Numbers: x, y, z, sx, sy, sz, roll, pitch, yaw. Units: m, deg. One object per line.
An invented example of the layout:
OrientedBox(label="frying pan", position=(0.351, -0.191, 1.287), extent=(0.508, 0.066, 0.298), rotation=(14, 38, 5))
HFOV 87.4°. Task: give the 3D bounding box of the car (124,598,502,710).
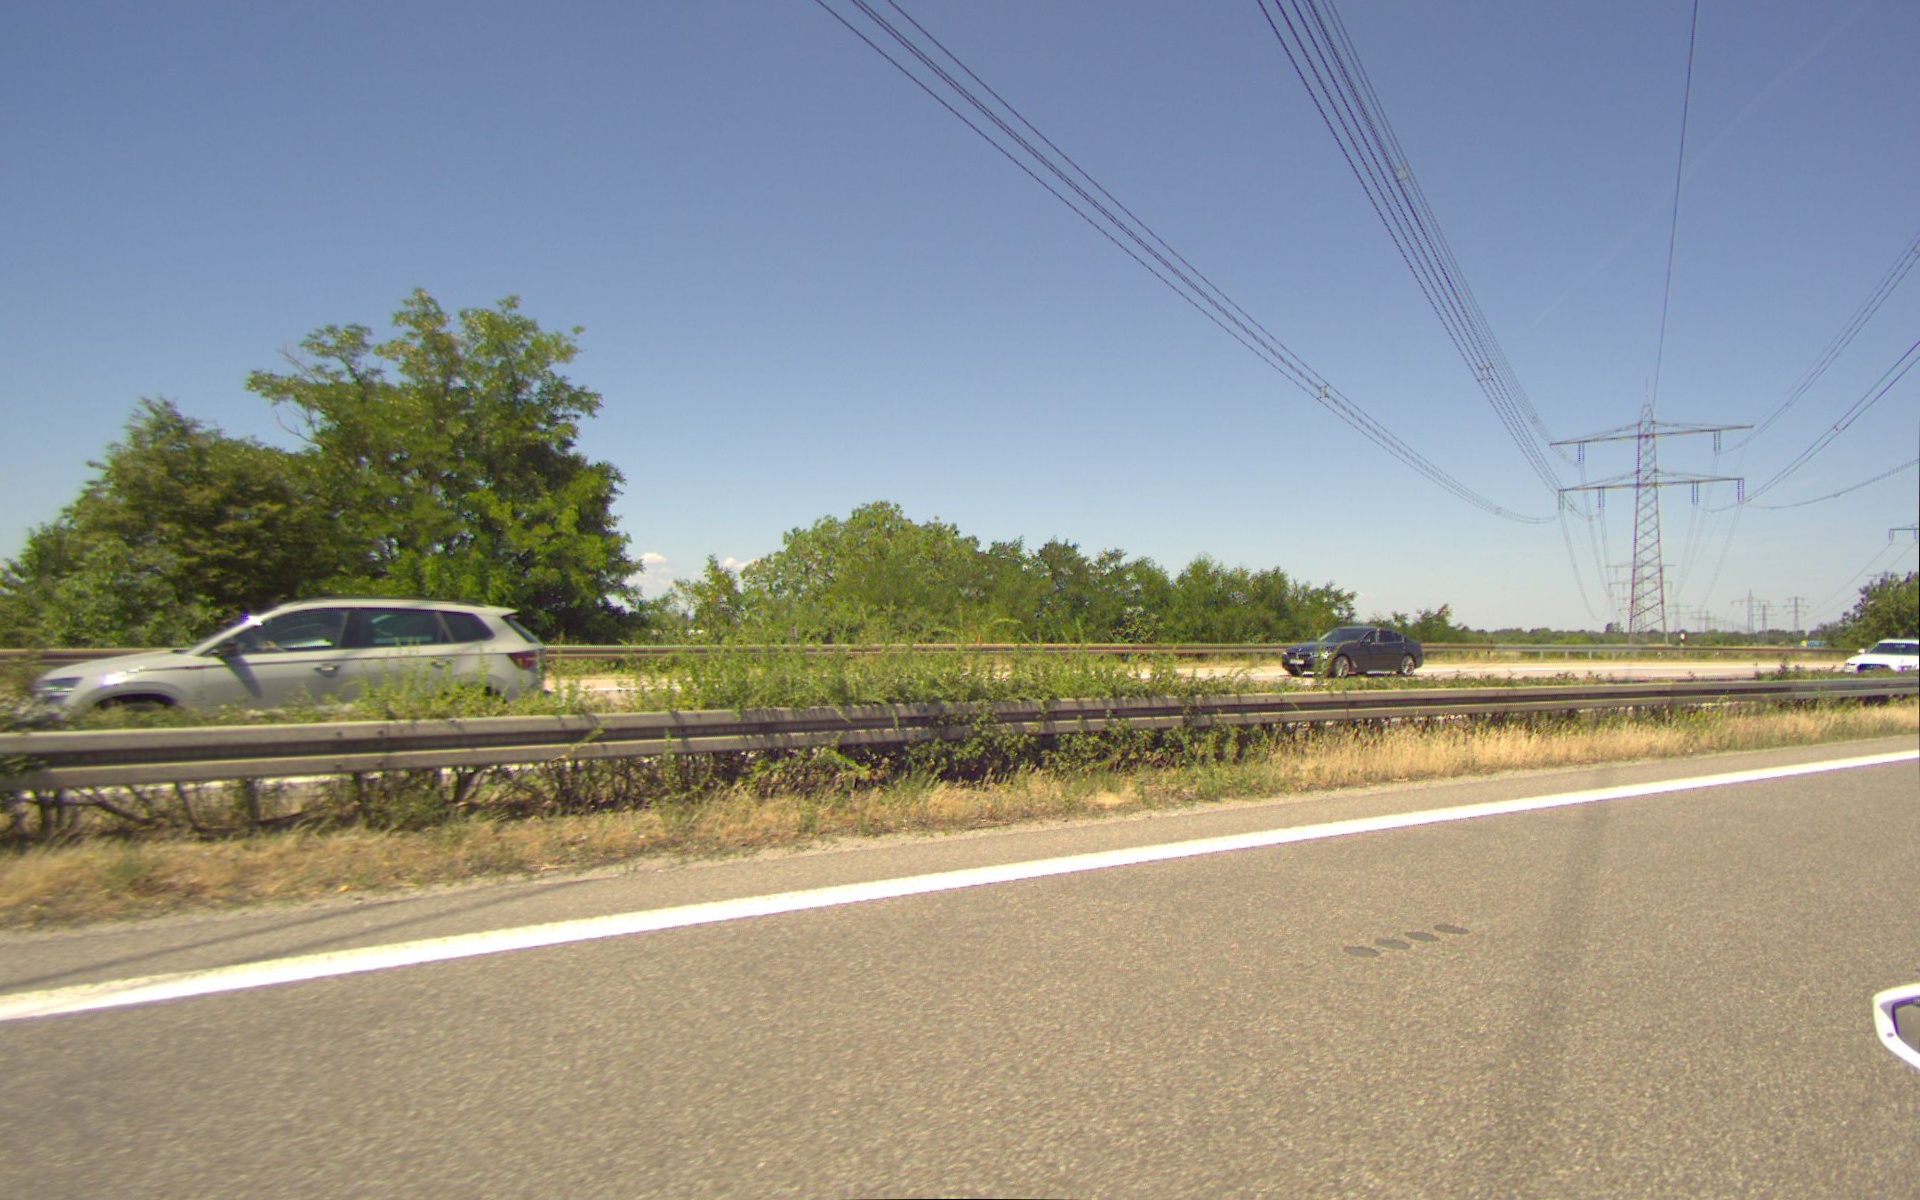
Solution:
OrientedBox(label="car", position=(-10.483, 0.832, 16.764), extent=(5.006, 1.607, 1.984), rotation=(1, 0, -30))

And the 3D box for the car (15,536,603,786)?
OrientedBox(label="car", position=(-6.206, 0.529, 10.217), extent=(4.571, 2.040, 1.984), rotation=(1, 0, -30))

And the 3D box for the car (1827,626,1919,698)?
OrientedBox(label="car", position=(29.364, 1.875, 31.336), extent=(4.862, 2.040, 1.984), rotation=(1, 0, -30))

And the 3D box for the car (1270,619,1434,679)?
OrientedBox(label="car", position=(11.806, 1.459, 30.159), extent=(5.032, 1.683, 1.983), rotation=(2, -2, -32))
